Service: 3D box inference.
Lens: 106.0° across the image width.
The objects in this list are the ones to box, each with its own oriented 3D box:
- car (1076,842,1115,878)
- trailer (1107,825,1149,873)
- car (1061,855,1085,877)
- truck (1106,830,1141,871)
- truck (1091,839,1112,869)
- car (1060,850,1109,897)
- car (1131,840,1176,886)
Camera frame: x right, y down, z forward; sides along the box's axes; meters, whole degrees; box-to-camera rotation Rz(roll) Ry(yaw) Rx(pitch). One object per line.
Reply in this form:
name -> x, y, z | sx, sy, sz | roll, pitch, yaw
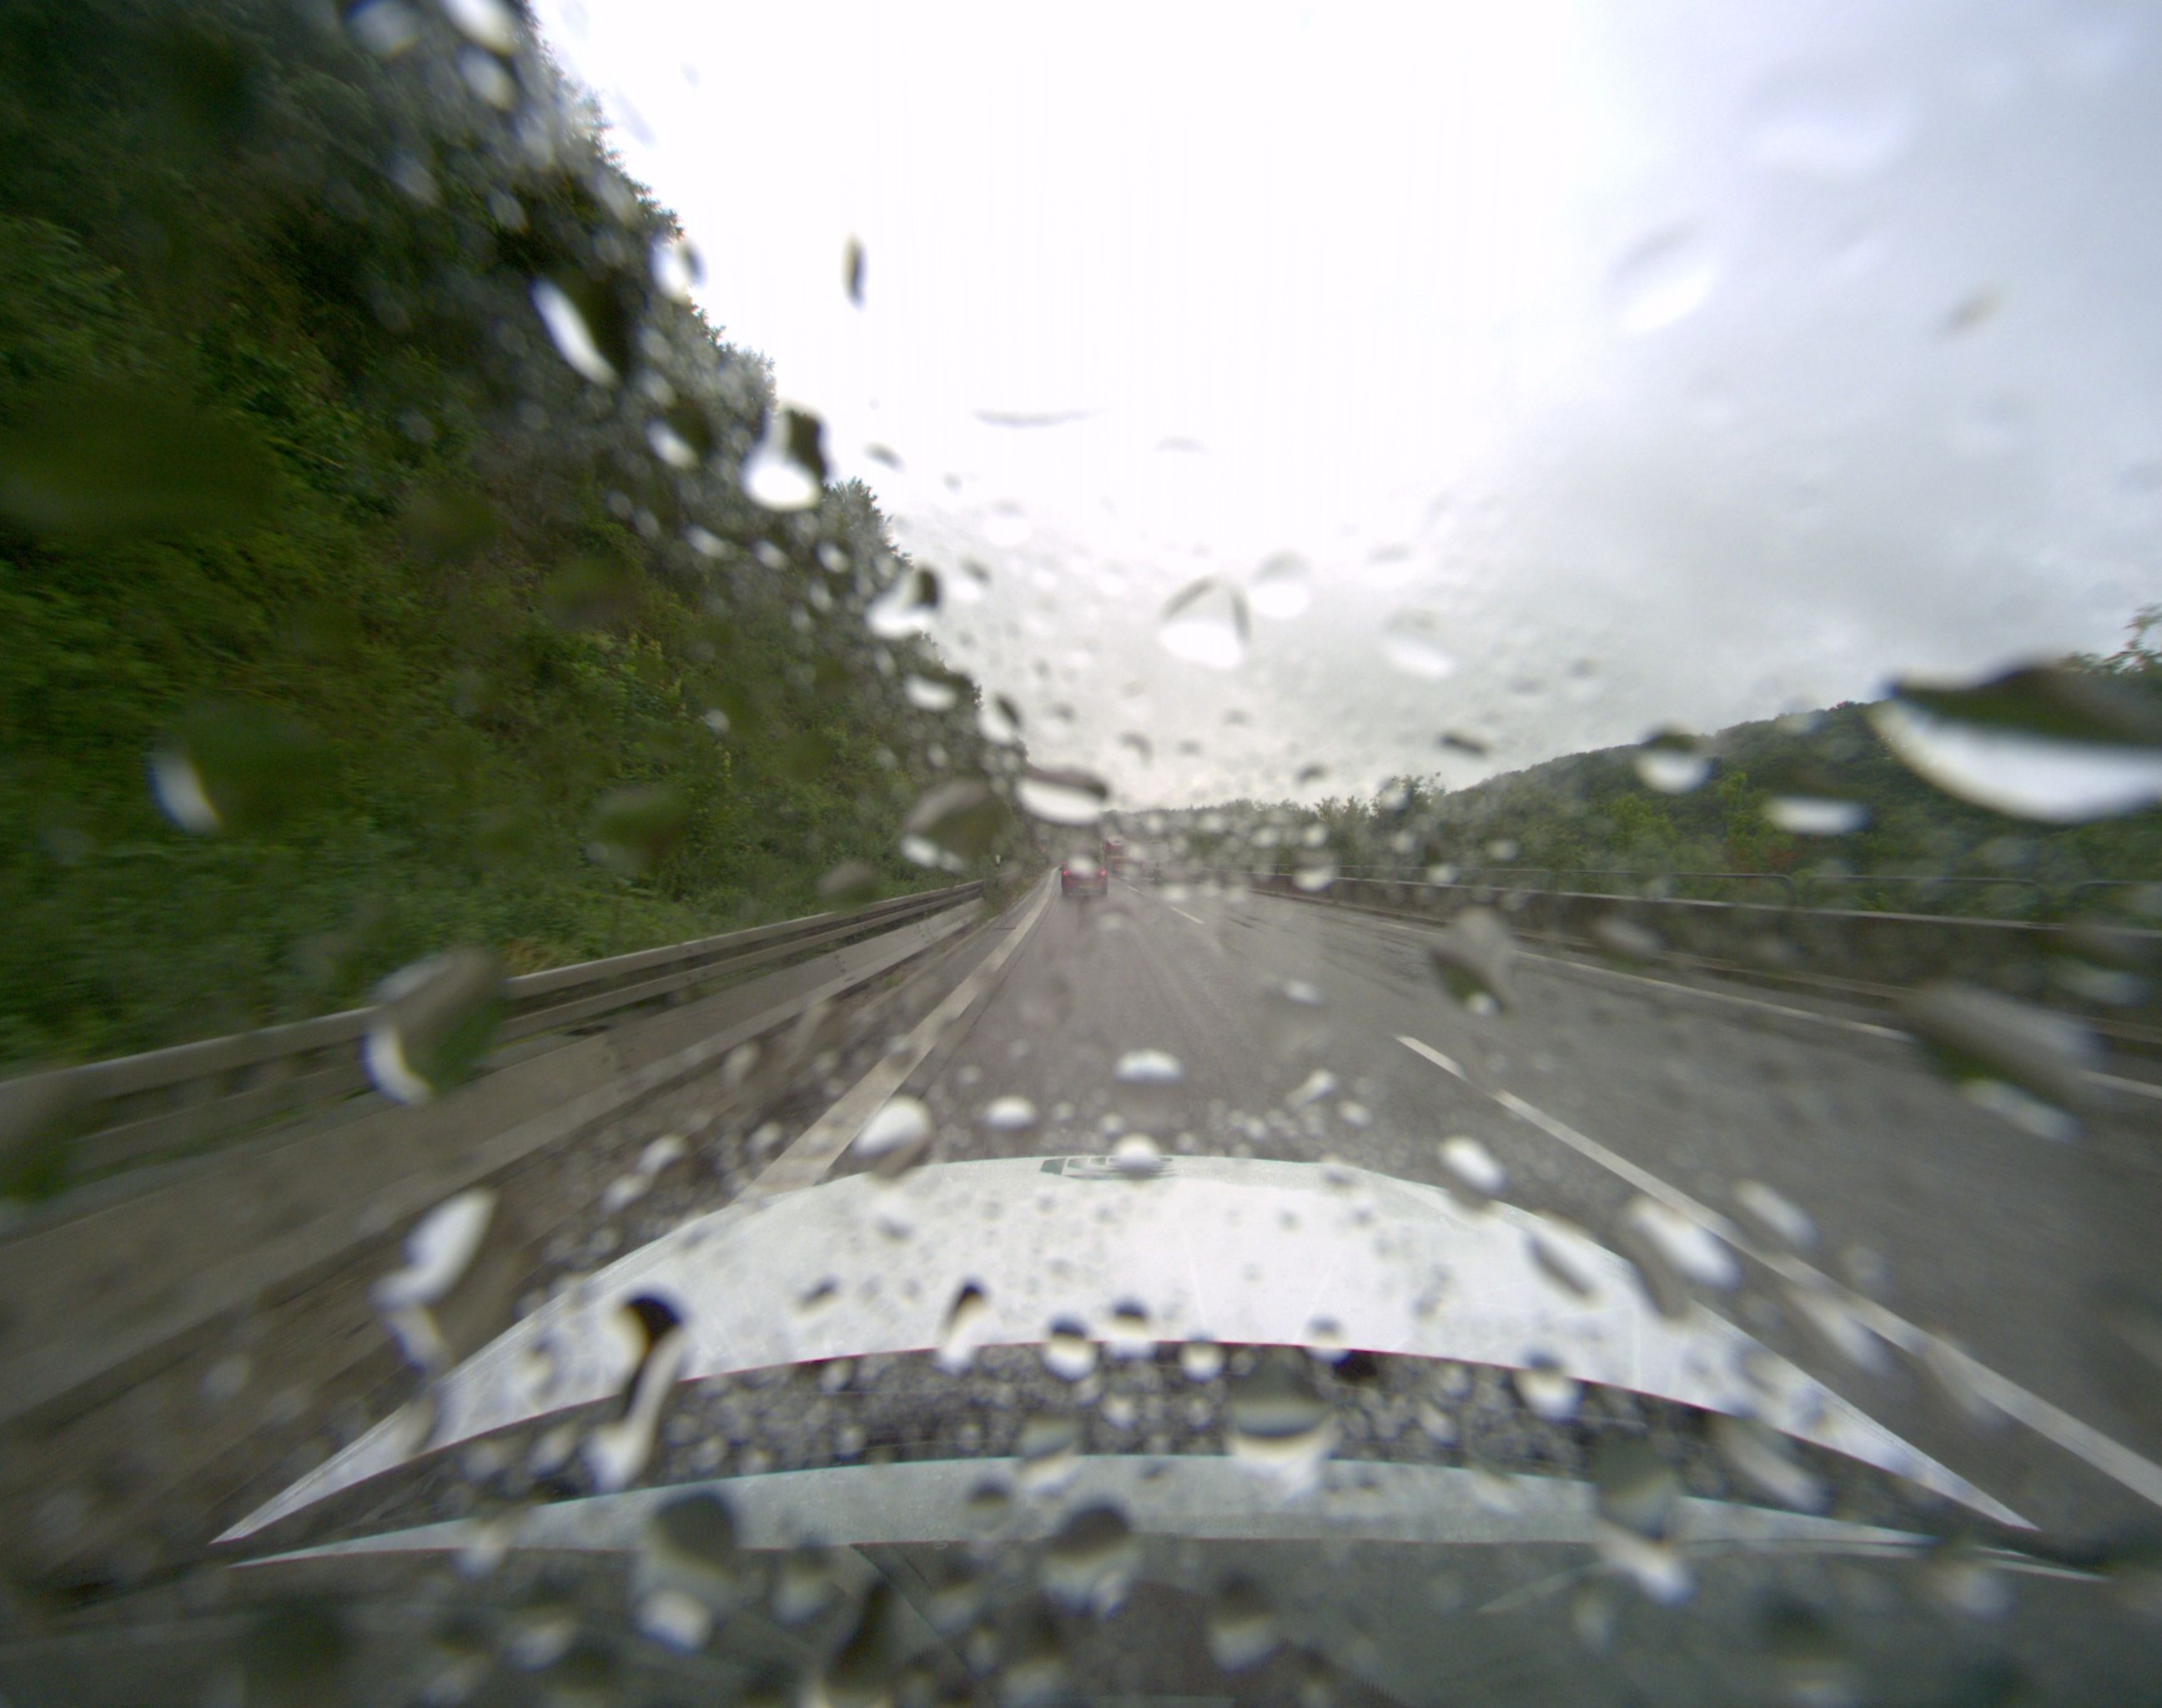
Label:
car -> 0.755, 0.294, 41.045 | 1.826, 1.715, 3.646 | -1, -1, 2
trailer -> 4.199, -0.344, 75.898 | 3.208, 3.999, 13.522 | 1, 0, 0
car -> -0.620, 0.912, 64.156 | 1.817, 1.696, 3.998 | 0, 0, -1
truck -> 4.231, -0.300, 82.859 | 3.209, 3.978, 5.437 | 1, -1, 0
truck -> 3.388, 0.071, 135.258 | 3.213, 4.682, 8.297 | -1, -1, 0
car -> 0.102, 0.731, 31.685 | 1.753, 1.685, 3.998 | -1, -1, -1
car -> 4.786, 0.586, 54.947 | 2.199, 2.794, 7.379 | 3, 0, -1
